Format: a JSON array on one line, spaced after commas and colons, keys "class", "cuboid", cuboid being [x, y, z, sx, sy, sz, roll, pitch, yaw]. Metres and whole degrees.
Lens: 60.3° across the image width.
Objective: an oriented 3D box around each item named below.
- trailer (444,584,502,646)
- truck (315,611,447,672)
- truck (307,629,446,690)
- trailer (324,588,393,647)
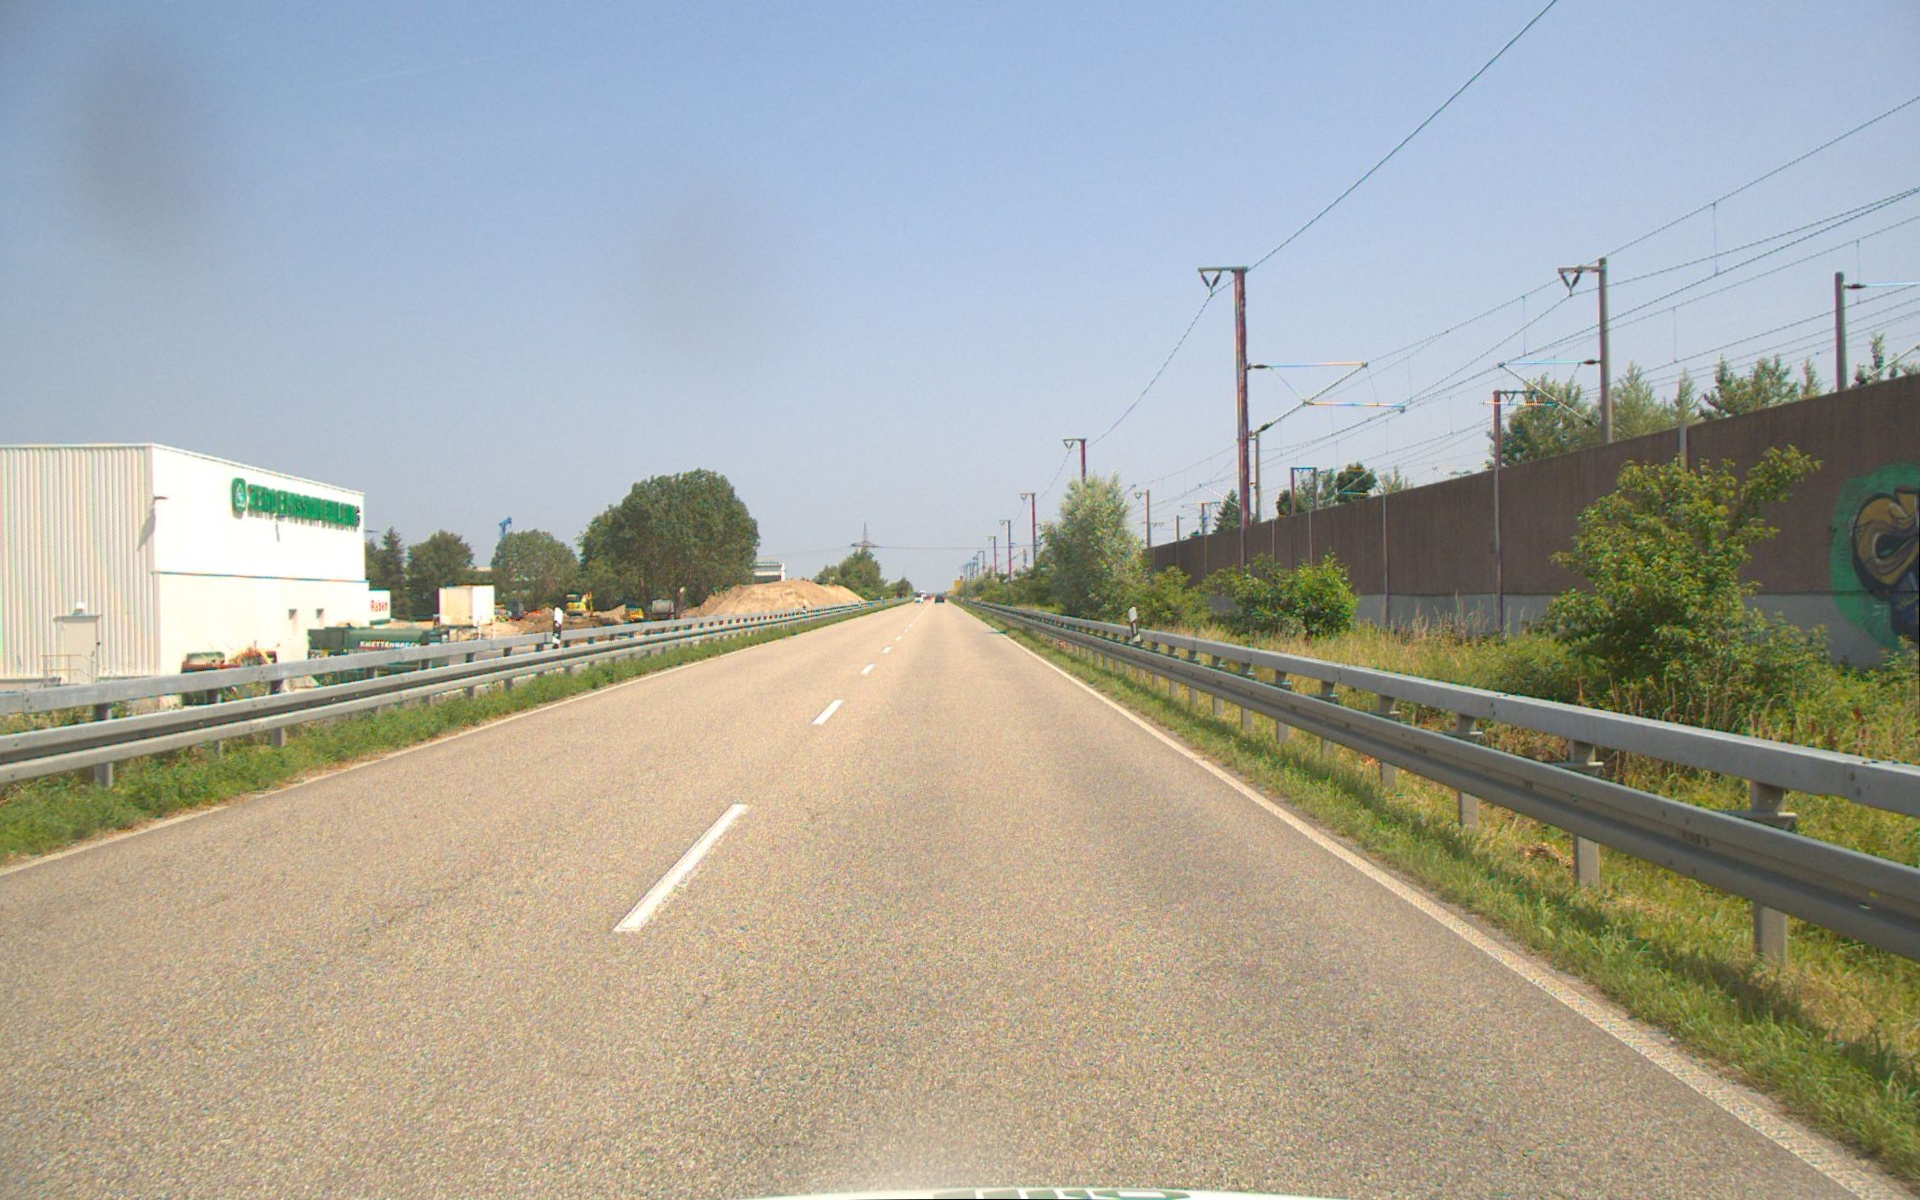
[{"class": "trailer", "cuboid": [-36.558, 1.057, 124.380, 2.626, 4.408, 7.945, 0, 1, -5]}, {"class": "truck", "cuboid": [-24.854, 1.778, 71.136, 4.946, 2.582, 2.271, 0, -1, -6]}, {"class": "truck", "cuboid": [-23.880, 2.412, 67.838, 4.907, 2.374, 2.232, 0, 0, -1]}, {"class": "trailer", "cuboid": [-44.982, 1.229, 123.967, 2.689, 4.220, 7.893, 0, 1, -4]}]
